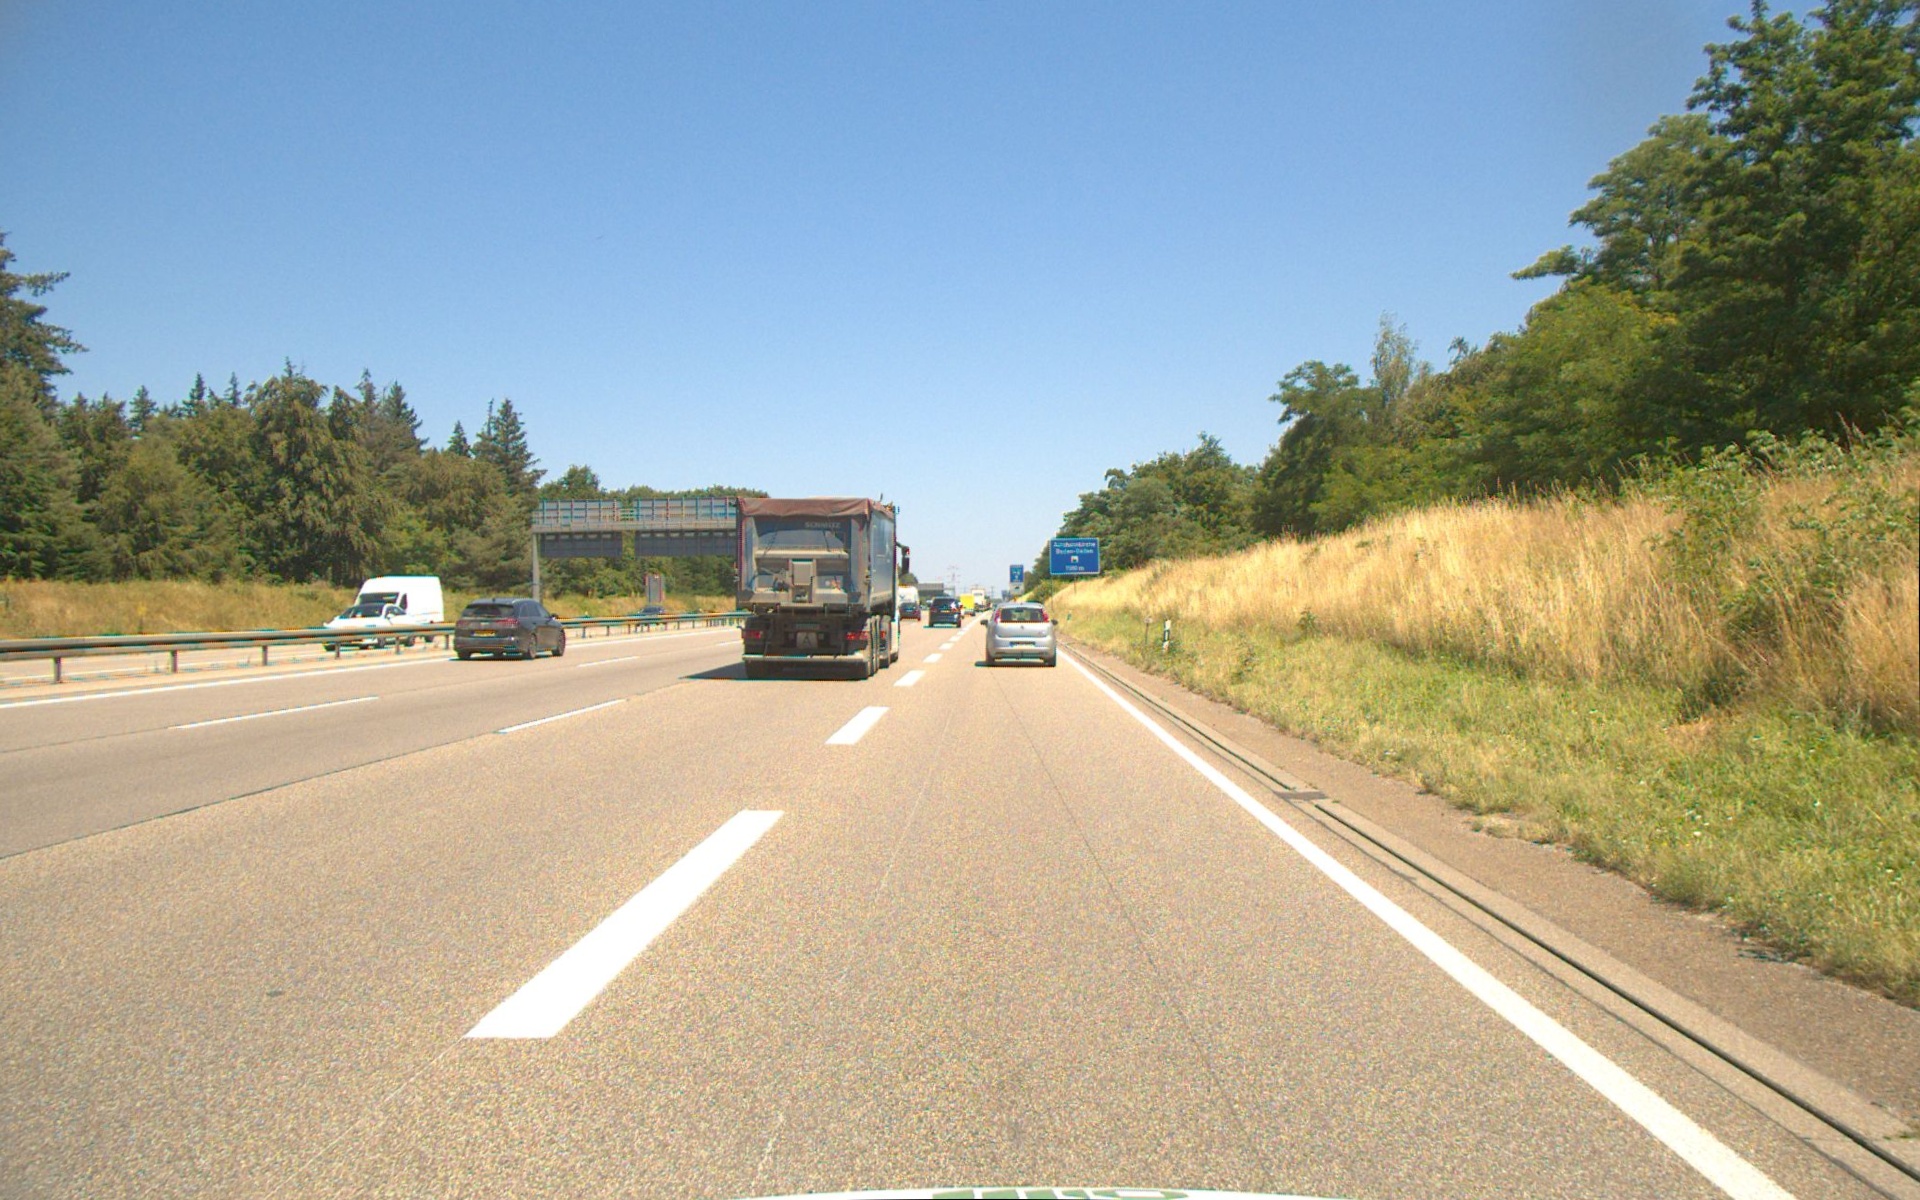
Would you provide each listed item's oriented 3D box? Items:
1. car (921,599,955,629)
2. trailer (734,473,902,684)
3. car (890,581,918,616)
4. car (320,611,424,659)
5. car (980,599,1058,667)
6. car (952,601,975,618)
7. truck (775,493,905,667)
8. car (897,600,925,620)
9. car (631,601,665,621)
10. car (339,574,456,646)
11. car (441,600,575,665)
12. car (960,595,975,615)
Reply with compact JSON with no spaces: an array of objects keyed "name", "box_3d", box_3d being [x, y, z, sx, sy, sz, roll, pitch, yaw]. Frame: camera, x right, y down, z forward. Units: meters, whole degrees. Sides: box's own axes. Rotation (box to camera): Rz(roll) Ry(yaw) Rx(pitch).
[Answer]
[{"name":"car","box_3d":[-1.278,0.804,96.745,1.794,1.701,4.001,1,0,2]},{"name":"trailer","box_3d":[-2.745,-0.436,34.637,2.681,3.824,9.109,0,0,0]},{"name":"car","box_3d":[-4.994,-0.152,147.690,2.213,3.002,6.114,1,0,0]},{"name":"car","box_3d":[-19.387,1.127,54.762,1.656,1.416,4.676,-2,0,1]},{"name":"car","box_3d":[1.371,0.756,39.811,1.684,1.517,3.736,1,1,-1]},{"name":"car","box_3d":[0.317,0.853,148.126,1.783,1.518,3.738,0,-1,3]},{"name":"truck","box_3d":[-2.729,-0.465,39.303,2.629,3.824,5.944,0,0,0]},{"name":"car","box_3d":[-3.833,0.745,129.422,1.854,1.495,4.263,1,0,2]},{"name":"car","box_3d":[-25.294,0.884,134.207,1.789,1.536,4.743,-1,0,0]},{"name":"car","box_3d":[-23.253,0.359,68.714,2.295,2.758,6.874,-2,0,1]},{"name":"car","box_3d":[-10.988,0.757,40.594,1.794,1.456,5.000,0,0,1]},{"name":"car","box_3d":[0.763,0.527,179.554,1.578,2.049,4.000,1,0,0]}]
